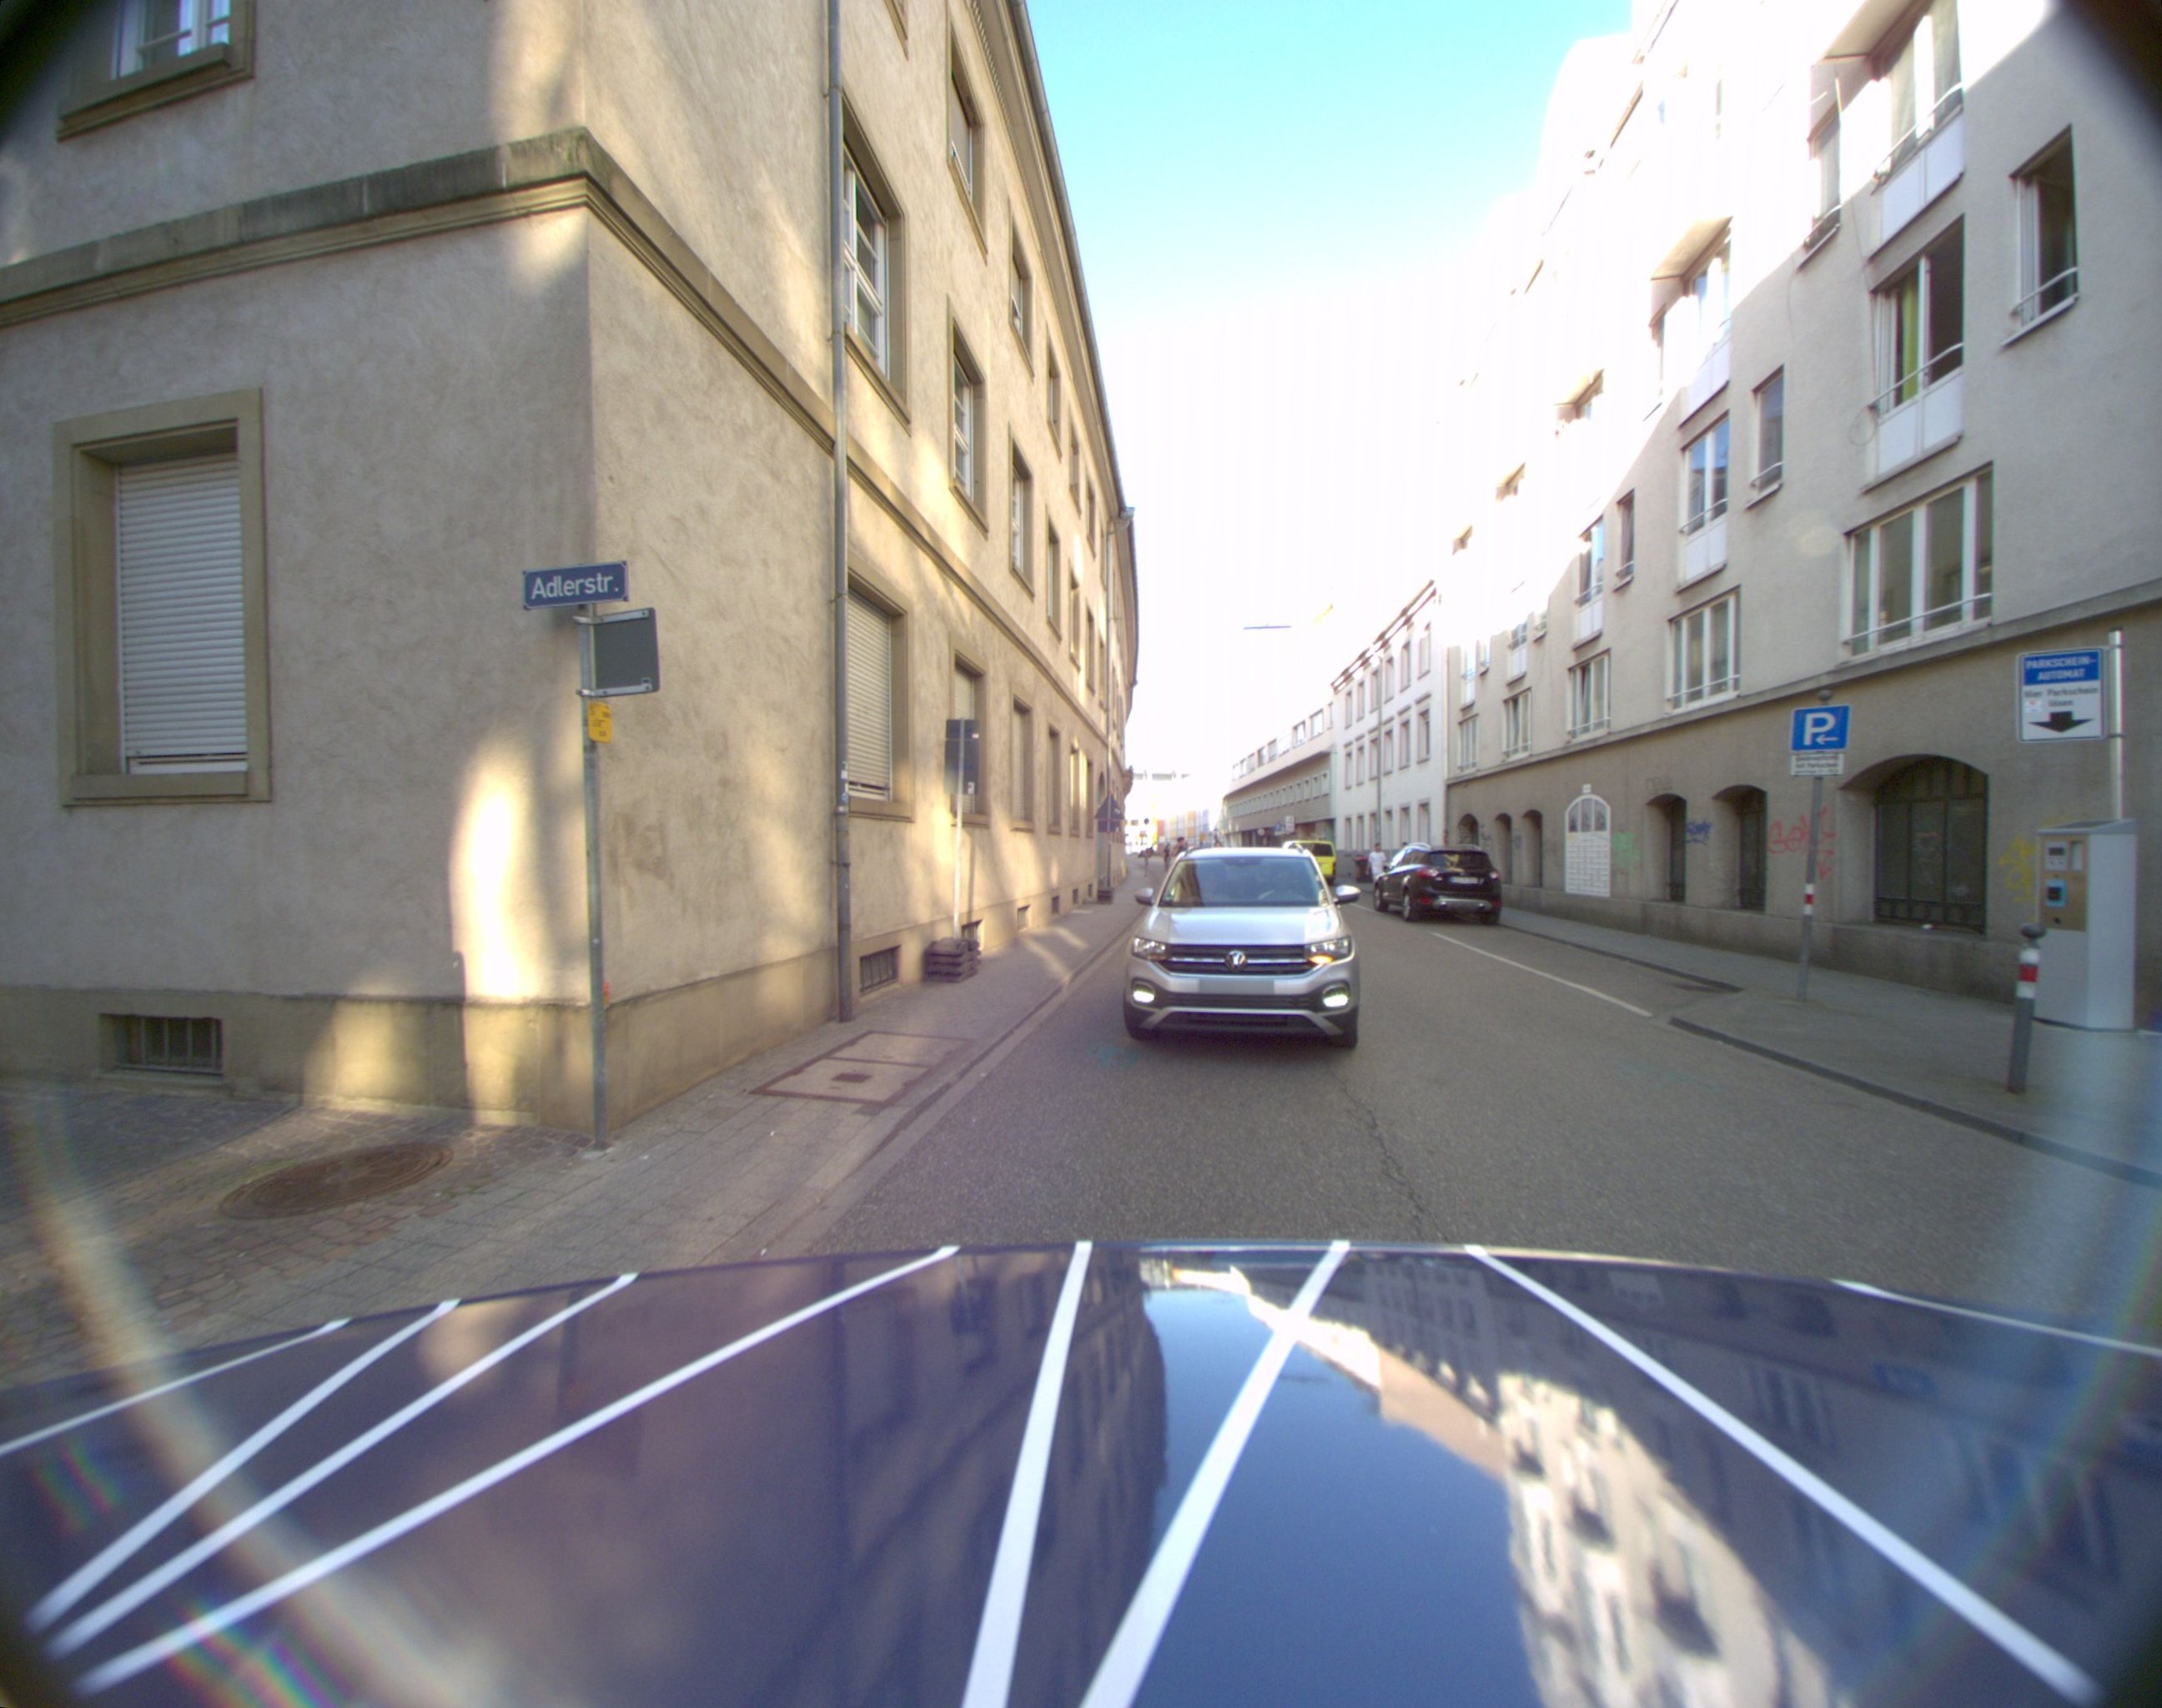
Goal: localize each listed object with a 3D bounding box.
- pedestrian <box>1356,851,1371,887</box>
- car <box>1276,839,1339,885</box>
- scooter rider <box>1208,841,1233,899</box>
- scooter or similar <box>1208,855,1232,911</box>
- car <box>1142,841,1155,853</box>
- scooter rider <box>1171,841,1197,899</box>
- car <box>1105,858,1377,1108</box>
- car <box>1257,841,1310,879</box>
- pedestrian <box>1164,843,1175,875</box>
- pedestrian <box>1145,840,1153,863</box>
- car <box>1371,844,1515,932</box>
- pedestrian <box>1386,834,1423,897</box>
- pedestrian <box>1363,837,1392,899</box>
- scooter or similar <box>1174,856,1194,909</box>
[{"bbox_3d":[11.669,0.613,31.441,0.555,1.439,0.583,0,1,18],"label":"pedestrian"},{"bbox_3d":[9.887,0.315,33.458,1.887,1.863,4.001,-1,1,5],"label":"car"},{"bbox_3d":[3.688,0.405,20.109,0.591,1.499,0.600,-2,1,8],"label":"scooter rider"},{"bbox_3d":[3.637,0.732,19.952,0.549,1.388,1.556,0,1,8],"label":"scooter or similar"},{"bbox_3d":[10.828,-1.109,122.251,1.888,1.863,4.000,2,1,3],"label":"car"},{"bbox_3d":[2.910,0.429,21.370,0.647,1.584,0.600,-2,1,8],"label":"scooter rider"},{"bbox_3d":[1.439,0.853,7.028,1.761,1.537,4.003,-1,1,11],"label":"car"},{"bbox_3d":[10.381,0.266,39.242,1.887,1.758,4.001,2,1,5],"label":"car"},{"bbox_3d":[5.662,0.304,48.695,0.715,2.002,0.699,0,1,7],"label":"pedestrian"},{"bbox_3d":[6.010,-0.226,67.222,0.715,2.002,0.699,0,1,7],"label":"pedestrian"},{"bbox_3d":[7.982,0.650,17.202,1.886,1.695,4.003,2,1,10],"label":"car"},{"bbox_3d":[10.517,0.369,24.698,0.936,2.002,0.699,0,1,7],"label":"pedestrian"},{"bbox_3d":[9.584,0.442,24.582,0.715,2.002,0.699,0,1,7],"label":"pedestrian"},{"bbox_3d":[2.892,0.775,21.212,0.523,1.388,1.556,0,1,8],"label":"scooter or similar"}]
